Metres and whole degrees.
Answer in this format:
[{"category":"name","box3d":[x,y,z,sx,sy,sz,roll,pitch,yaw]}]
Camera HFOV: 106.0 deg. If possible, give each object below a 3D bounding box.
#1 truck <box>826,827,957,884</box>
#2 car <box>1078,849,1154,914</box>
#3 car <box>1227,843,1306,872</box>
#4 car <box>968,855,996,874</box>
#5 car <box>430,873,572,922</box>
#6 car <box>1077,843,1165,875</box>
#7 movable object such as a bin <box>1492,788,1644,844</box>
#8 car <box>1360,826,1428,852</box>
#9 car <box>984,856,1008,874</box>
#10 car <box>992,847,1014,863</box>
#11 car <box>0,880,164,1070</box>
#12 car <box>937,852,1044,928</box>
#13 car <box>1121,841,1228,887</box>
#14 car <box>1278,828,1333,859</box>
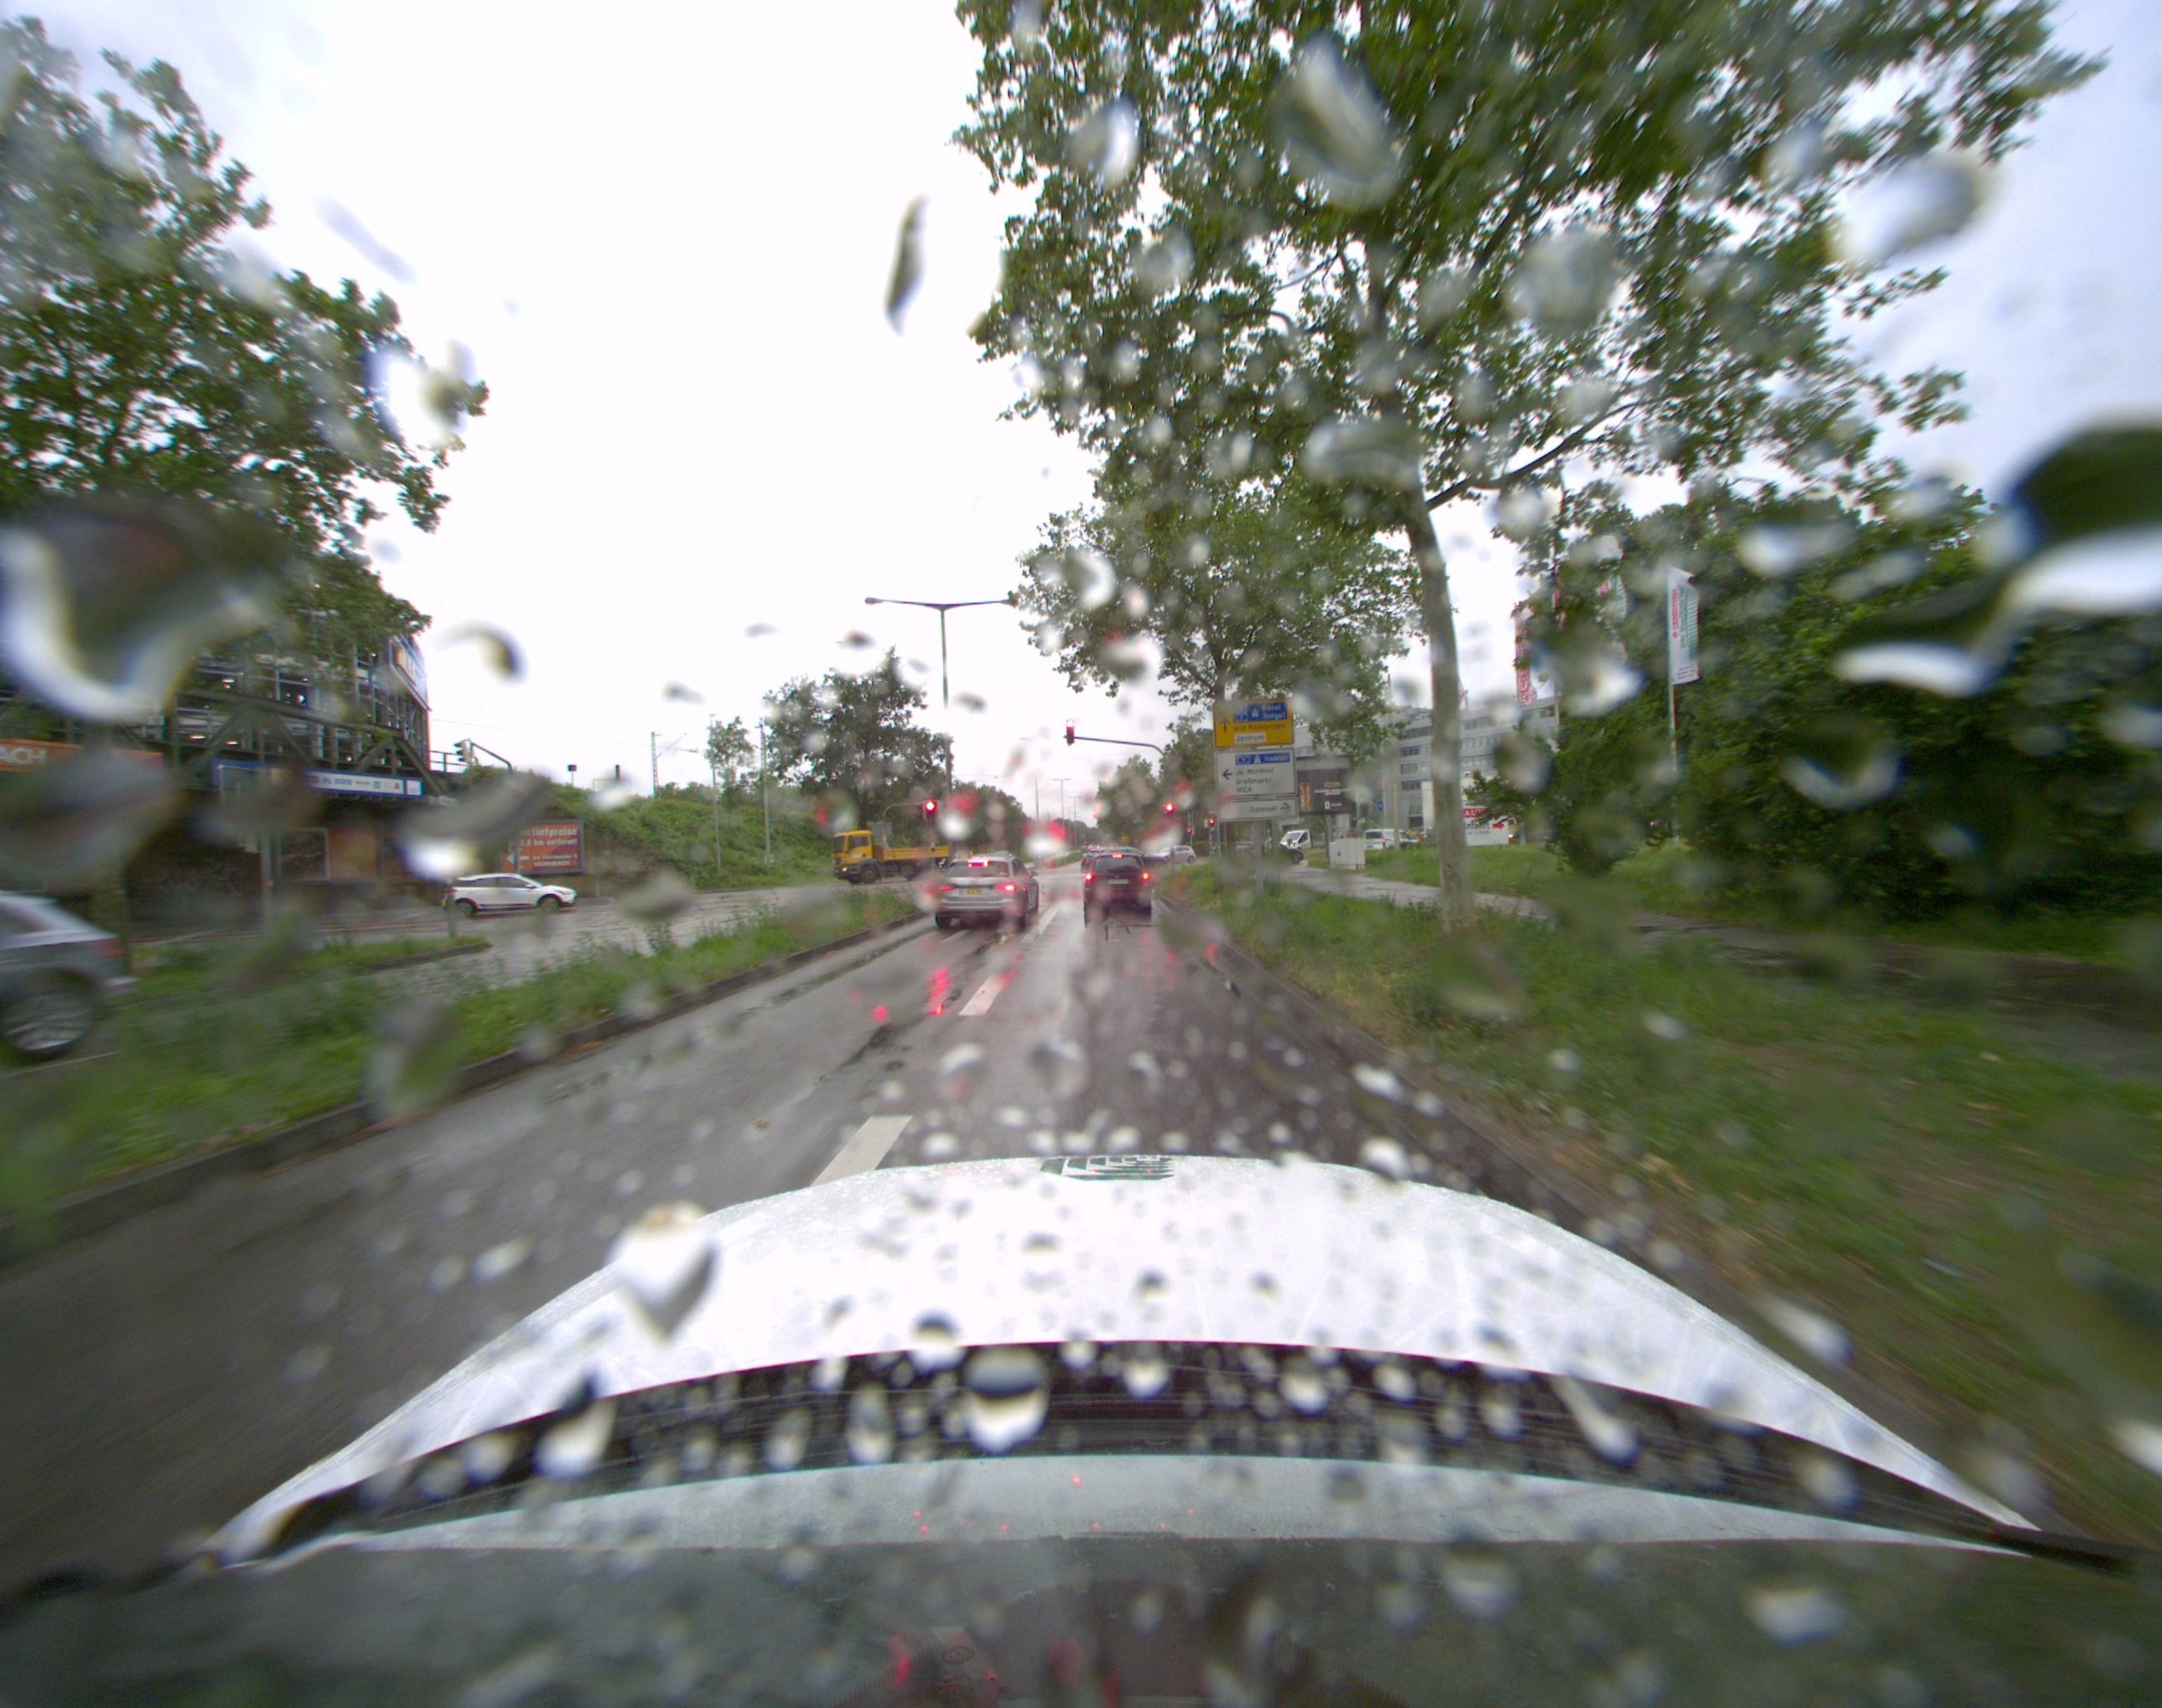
[{"category":"truck","box3d":[-11.214,0.043,48.637,7.080,3.054,2.618,-2,0,-36]},{"category":"car","box3d":[0.899,0.645,21.392,1.789,1.537,4.389,-1,0,2]},{"category":"car","box3d":[11.011,0.195,48.280,4.398,1.537,1.786,-2,0,-28]},{"category":"car","box3d":[-8.430,0.883,69.638,1.706,1.530,4.002,-2,0,2]},{"category":"car","box3d":[-21.300,1.549,30.142,4.077,1.521,1.980,-2,0,-32]},{"category":"car","box3d":[2.159,0.255,43.556,4.398,1.537,1.786,-2,0,-28]},{"category":"movable object such as a bin","box3d":[63.012,-4.669,106.021,8.296,6.283,14.818,0,-1,-32]},{"category":"car","box3d":[20.844,-0.979,54.196,4.398,1.537,1.786,-2,0,-28]},{"category":"car","box3d":[-7.931,1.025,76.209,1.706,1.530,4.002,-2,0,2]},{"category":"car","box3d":[-8.046,0.131,84.266,1.706,1.530,4.002,-2,0,2]},{"category":"car","box3d":[-10.215,1.119,5.915,1.850,1.589,4.519,-4,0,1]},{"category":"car","box3d":[-1.872,0.696,18.132,1.684,1.433,4.576,-1,0,2]},{"category":"car","box3d":[3.924,0.393,33.878,4.409,1.537,1.781,-5,3,-38]},{"category":"car","box3d":[18.428,-0.905,66.845,4.405,2.190,1.783,-5,1,-33]}]
